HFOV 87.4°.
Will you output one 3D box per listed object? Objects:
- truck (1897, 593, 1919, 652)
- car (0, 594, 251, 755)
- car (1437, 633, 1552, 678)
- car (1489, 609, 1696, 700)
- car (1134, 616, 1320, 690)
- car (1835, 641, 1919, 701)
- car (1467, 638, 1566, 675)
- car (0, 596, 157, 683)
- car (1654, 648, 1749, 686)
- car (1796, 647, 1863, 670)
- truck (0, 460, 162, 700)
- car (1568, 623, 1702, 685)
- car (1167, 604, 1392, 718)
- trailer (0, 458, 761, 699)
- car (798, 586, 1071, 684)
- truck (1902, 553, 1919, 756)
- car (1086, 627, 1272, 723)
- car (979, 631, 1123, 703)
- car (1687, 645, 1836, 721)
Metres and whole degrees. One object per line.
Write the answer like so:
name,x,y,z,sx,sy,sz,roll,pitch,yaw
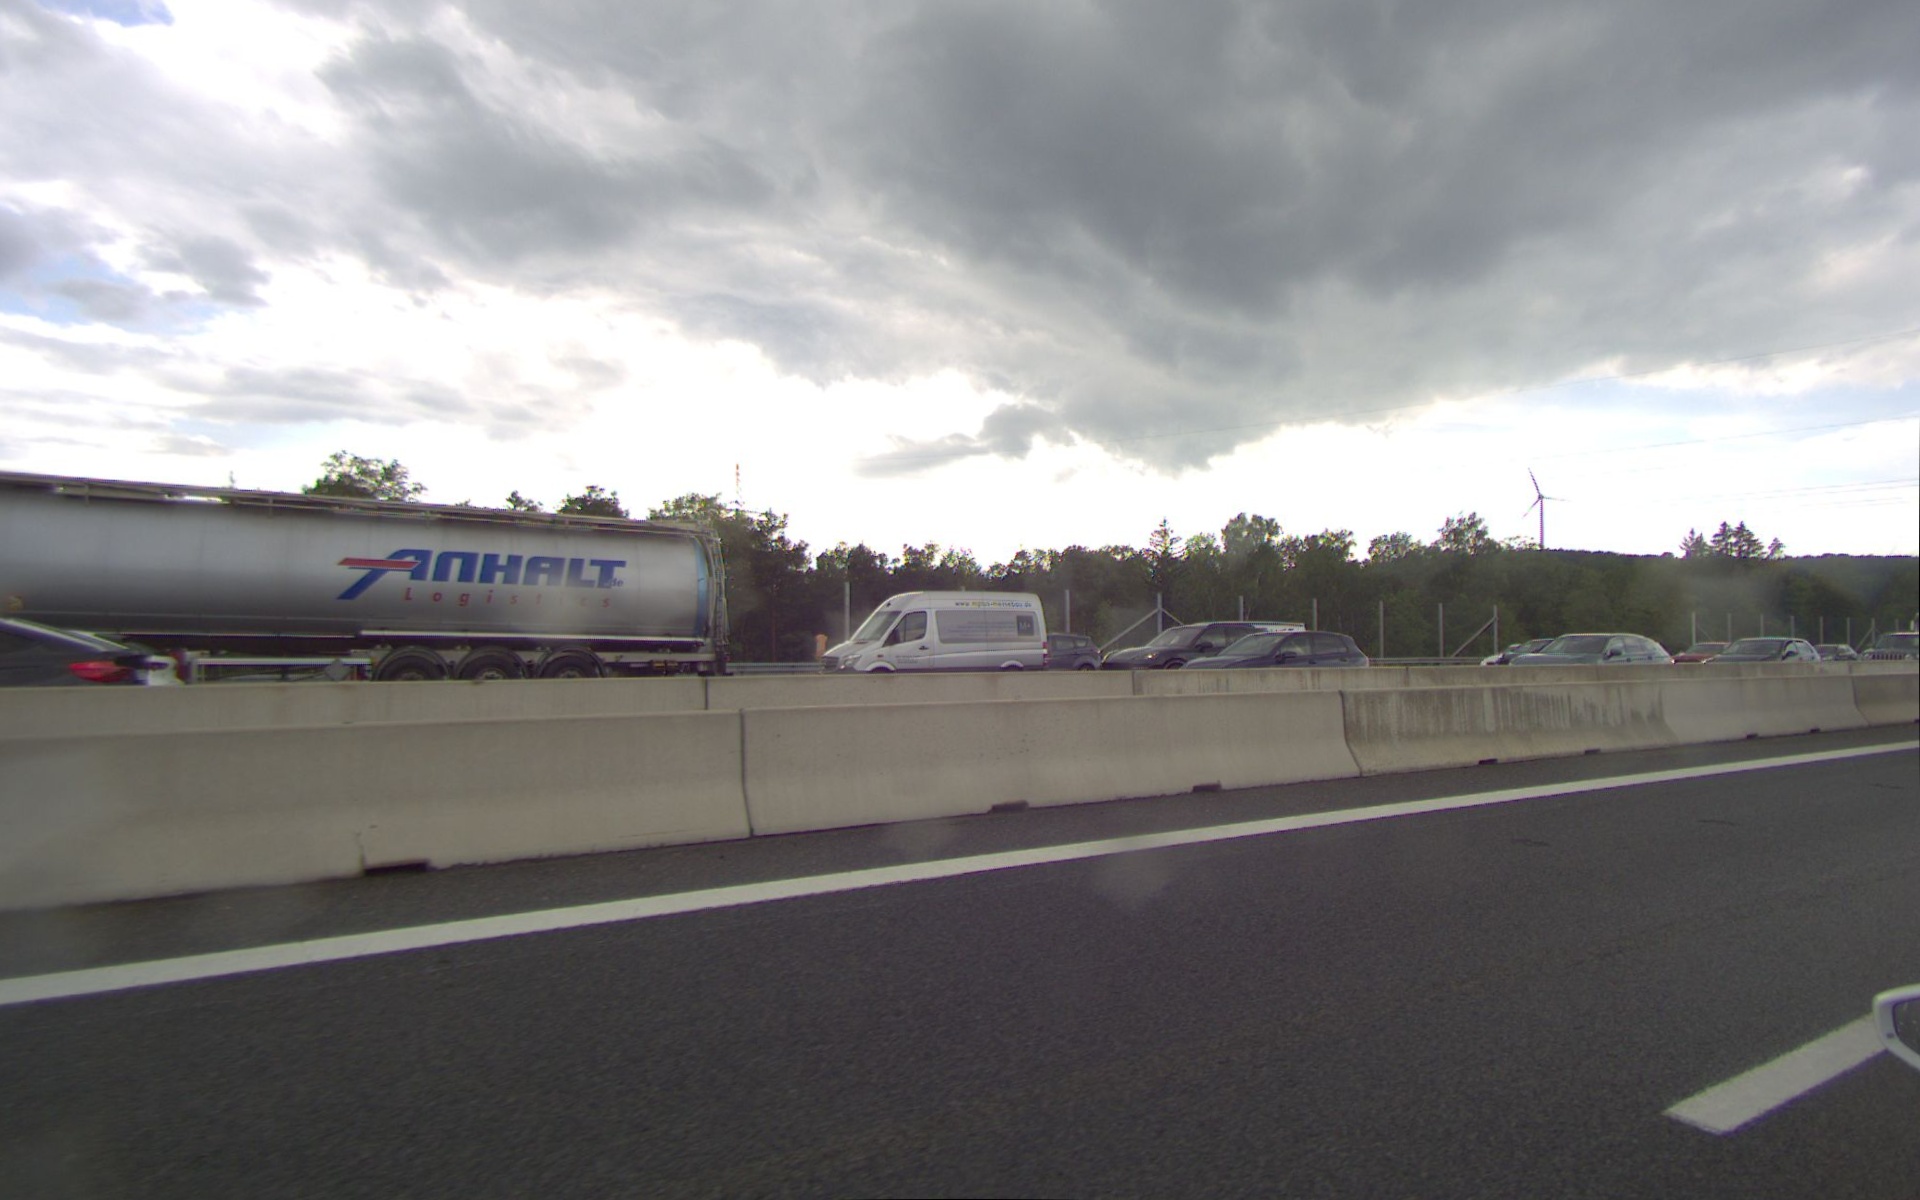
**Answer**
truck,59.402,1.372,60.203,6.451,3.451,3.029,1,0,-30
car,-10.033,0.688,9.785,4.914,1.503,1.756,1,-1,-30
car,19.269,1.957,36.208,3.953,1.471,1.859,1,0,-30
car,15.287,1.247,24.216,5.153,1.963,2.106,1,0,-30
car,7.881,1.498,29.458,5.375,1.963,2.106,1,0,-30
car,31.607,2.330,33.814,4.651,1.783,1.861,1,0,-30
car,24.517,2.446,44.238,3.953,1.471,2.106,1,0,-30
car,-17.805,0.710,18.862,3.953,1.550,1.984,1,-1,-30
car,32.223,2.869,43.637,4.092,1.477,1.861,1,0,-30
car,50.441,3.366,58.245,4.310,1.224,1.638,1,0,-30
truck,-16.538,-0.317,15.110,6.720,3.561,2.715,1,0,-30
car,23.103,1.785,34.348,4.374,1.963,2.106,1,0,-30
car,6.239,1.107,19.545,4.163,1.979,1.884,1,0,-30
trailer,-10.602,-0.259,18.621,13.450,3.573,2.698,1,0,-31
car,-0.531,0.814,24.831,6.540,2.178,2.106,1,0,-30
truck,15.167,0.703,13.075,7.273,2.440,2.341,1,0,-31
car,5.065,1.647,23.162,3.953,1.979,1.884,1,0,-30
car,2.810,2.019,30.868,3.948,2.040,1.987,1,0,-27
car,23.343,2.346,29.249,3.953,1.963,2.106,1,0,-30
